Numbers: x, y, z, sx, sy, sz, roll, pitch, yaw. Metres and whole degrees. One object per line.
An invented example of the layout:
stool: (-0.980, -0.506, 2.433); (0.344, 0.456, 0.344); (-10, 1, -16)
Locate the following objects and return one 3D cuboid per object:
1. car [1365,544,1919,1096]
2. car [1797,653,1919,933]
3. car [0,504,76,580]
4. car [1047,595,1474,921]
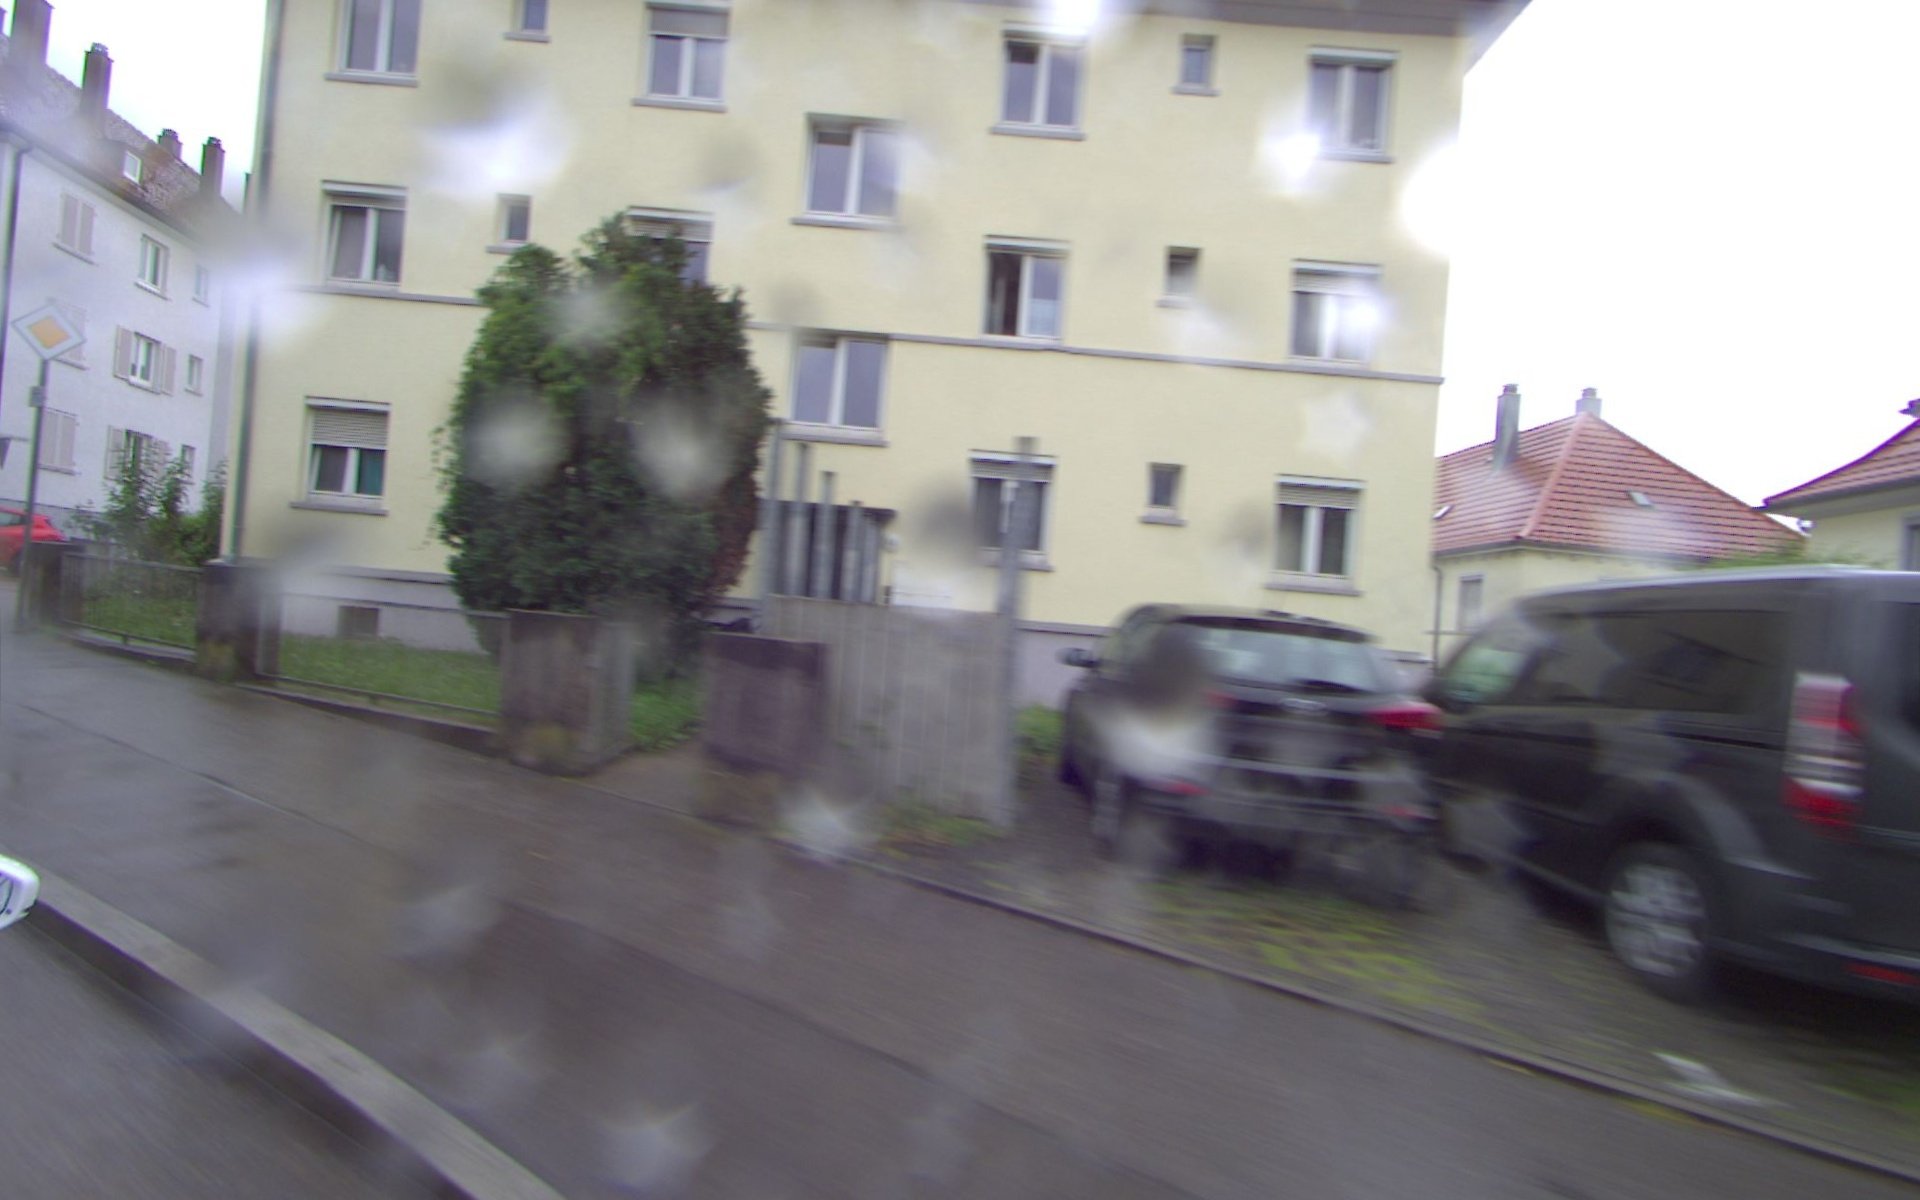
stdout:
car: (3.797, 0.744, 5.249); (1.737, 1.806, 3.932); (5, 2, 2)
car: (6.138, 1.188, 4.611); (1.656, 1.494, 3.523); (5, 2, 4)
car: (-21.225, -1.458, 20.830); (1.699, 1.424, 4.080); (7, -2, 39)
car: (1.585, 0.755, 6.577); (1.656, 1.357, 3.522); (5, 2, 0)
